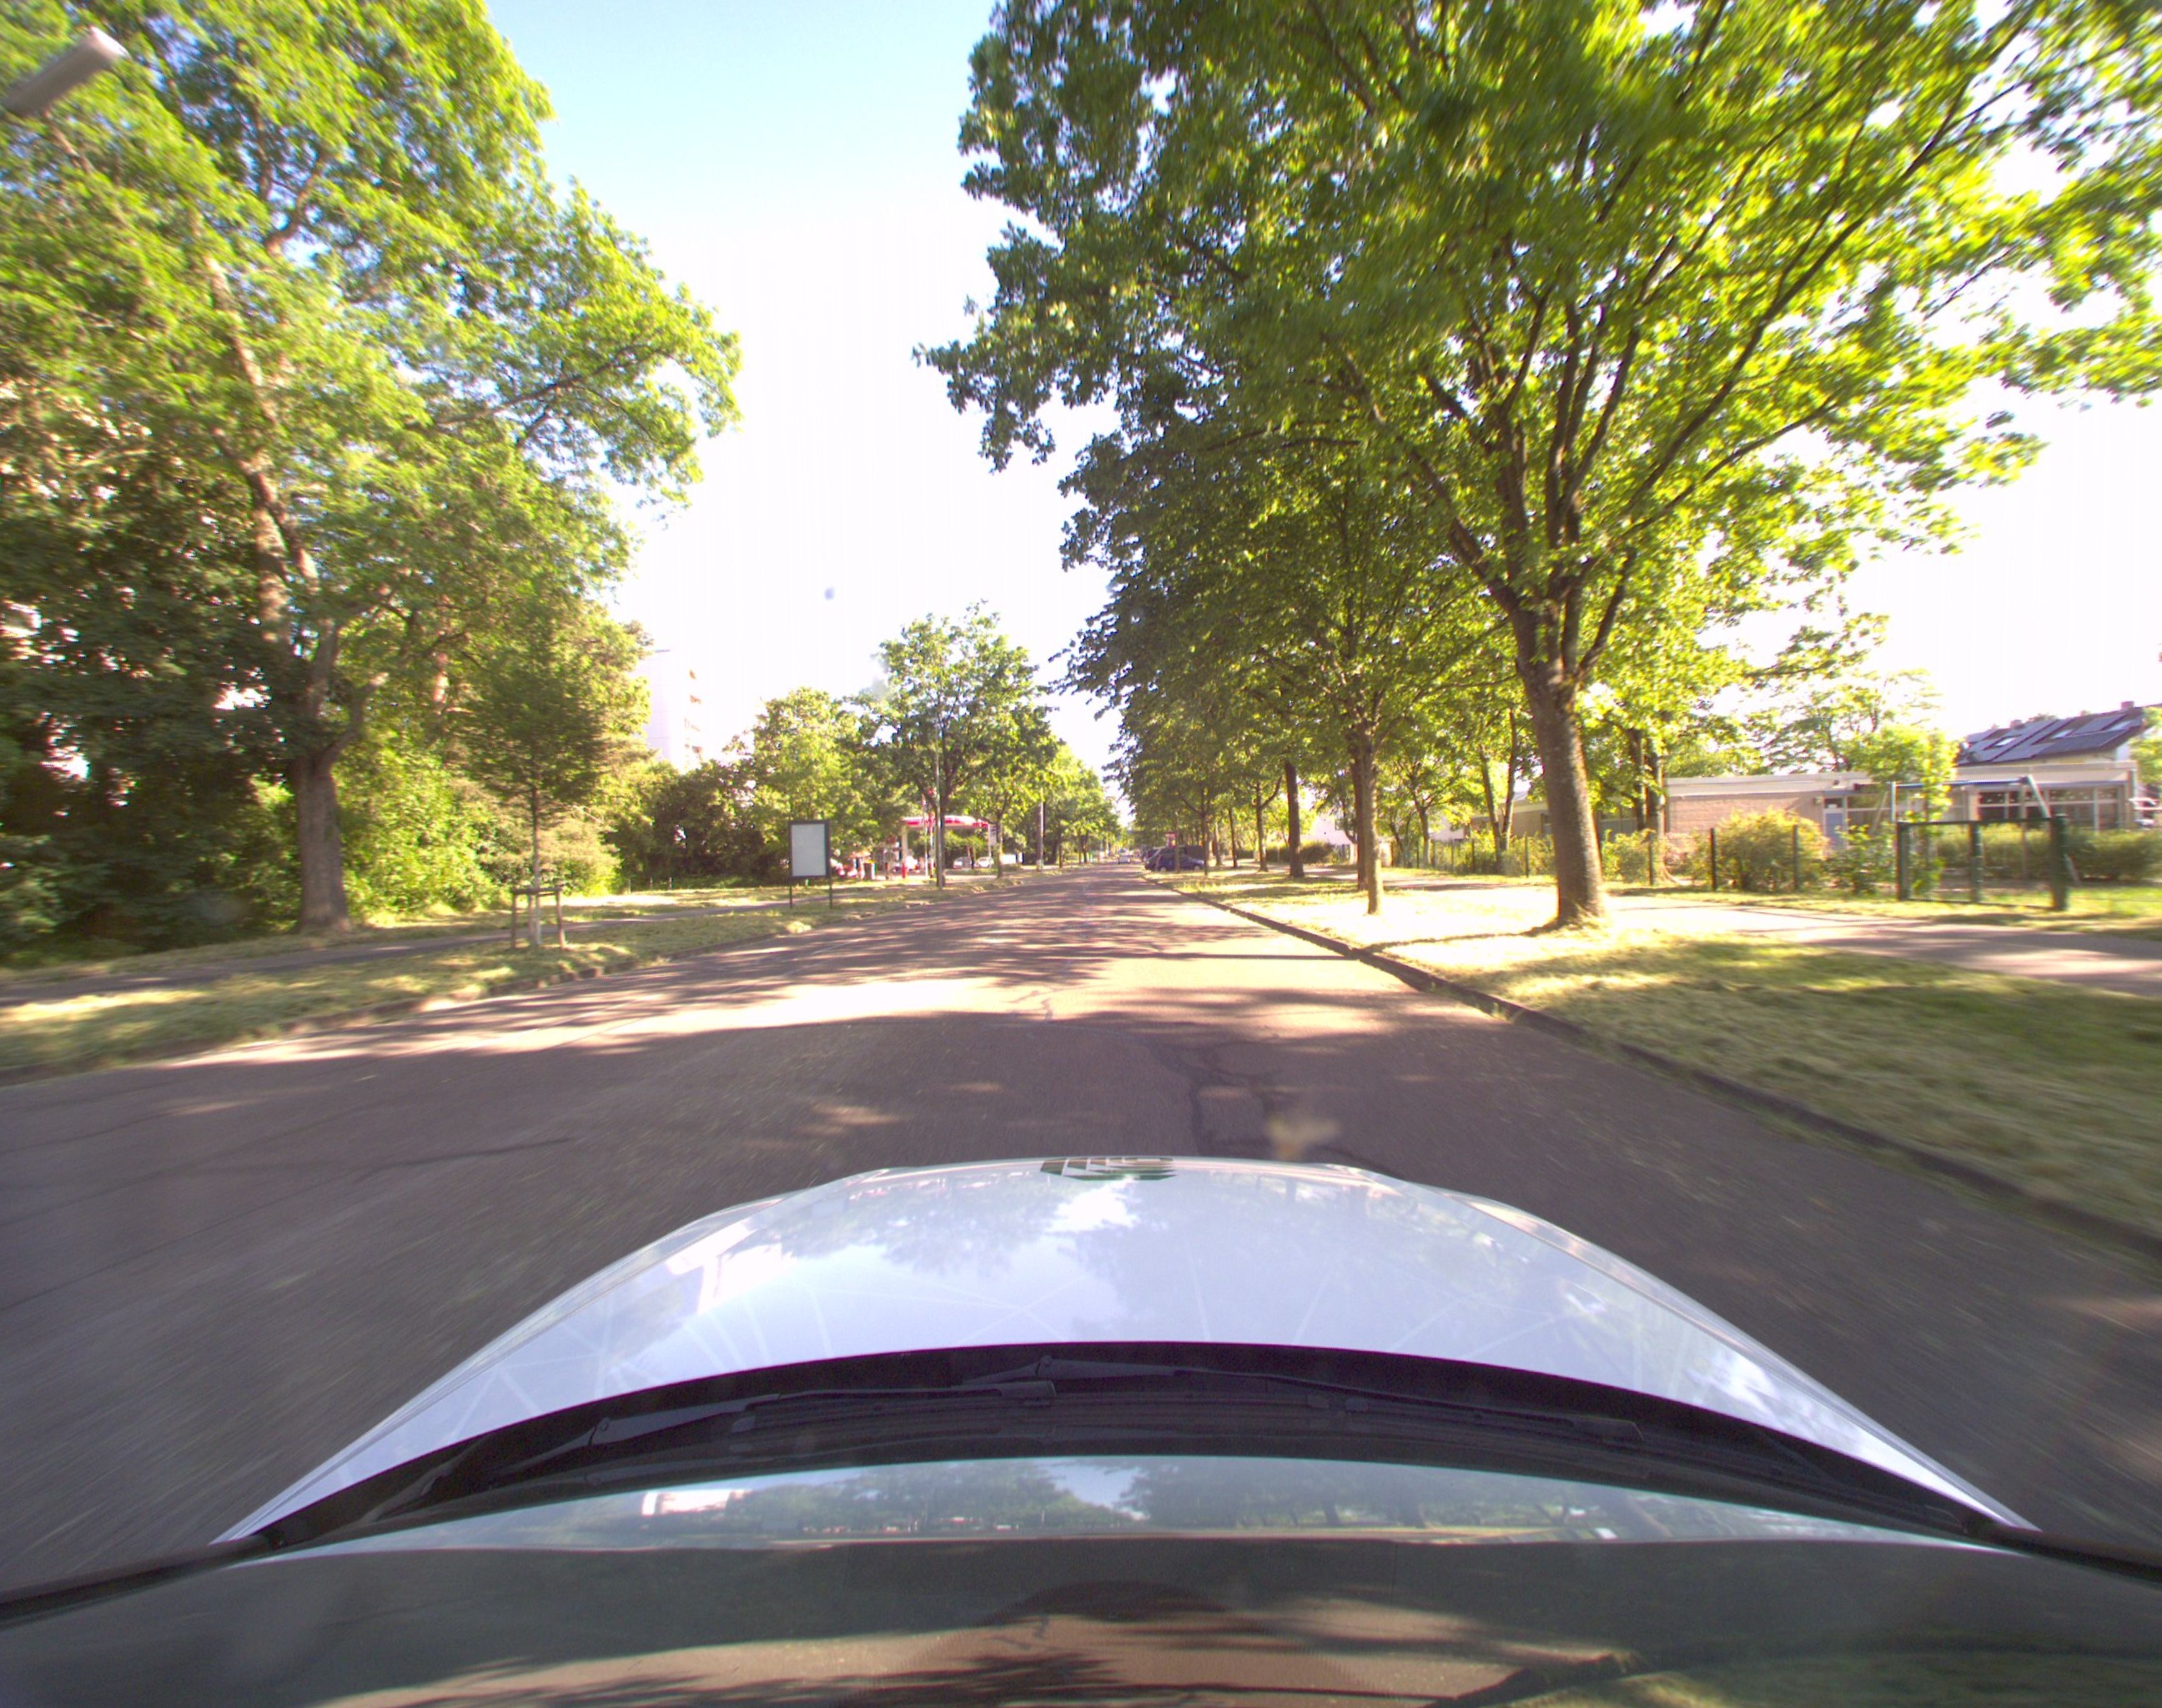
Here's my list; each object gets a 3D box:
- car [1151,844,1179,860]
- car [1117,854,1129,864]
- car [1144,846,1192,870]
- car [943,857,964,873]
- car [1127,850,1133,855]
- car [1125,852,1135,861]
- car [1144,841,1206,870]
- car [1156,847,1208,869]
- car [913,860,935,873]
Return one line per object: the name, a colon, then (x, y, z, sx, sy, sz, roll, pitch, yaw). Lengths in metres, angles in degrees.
car: (11.542, -0.270, 112.107, 3.553, 2.051, 1.634, -3, -1, 2)
car: (6.073, 0.753, 118.938, 1.654, 1.337, 3.667, -3, -1, 2)
car: (6.907, 0.335, 64.966, 3.638, 1.797, 1.318, -3, -1, 2)
car: (-15.449, 1.325, 98.703, 1.795, 1.823, 3.805, -2, -1, 1)
car: (14.428, -0.529, 241.374, 1.654, 1.337, 3.667, -3, -1, 2)
car: (8.383, 0.473, 140.236, 1.654, 1.337, 3.667, -3, -1, 2)
car: (7.172, 0.122, 62.463, 4.484, 1.953, 1.688, -3, -1, 2)
car: (7.349, 0.318, 59.468, 3.638, 1.398, 1.318, -3, -1, 2)
car: (-19.567, 1.564, 101.393, 1.794, 1.621, 3.806, -3, -1, 2)
